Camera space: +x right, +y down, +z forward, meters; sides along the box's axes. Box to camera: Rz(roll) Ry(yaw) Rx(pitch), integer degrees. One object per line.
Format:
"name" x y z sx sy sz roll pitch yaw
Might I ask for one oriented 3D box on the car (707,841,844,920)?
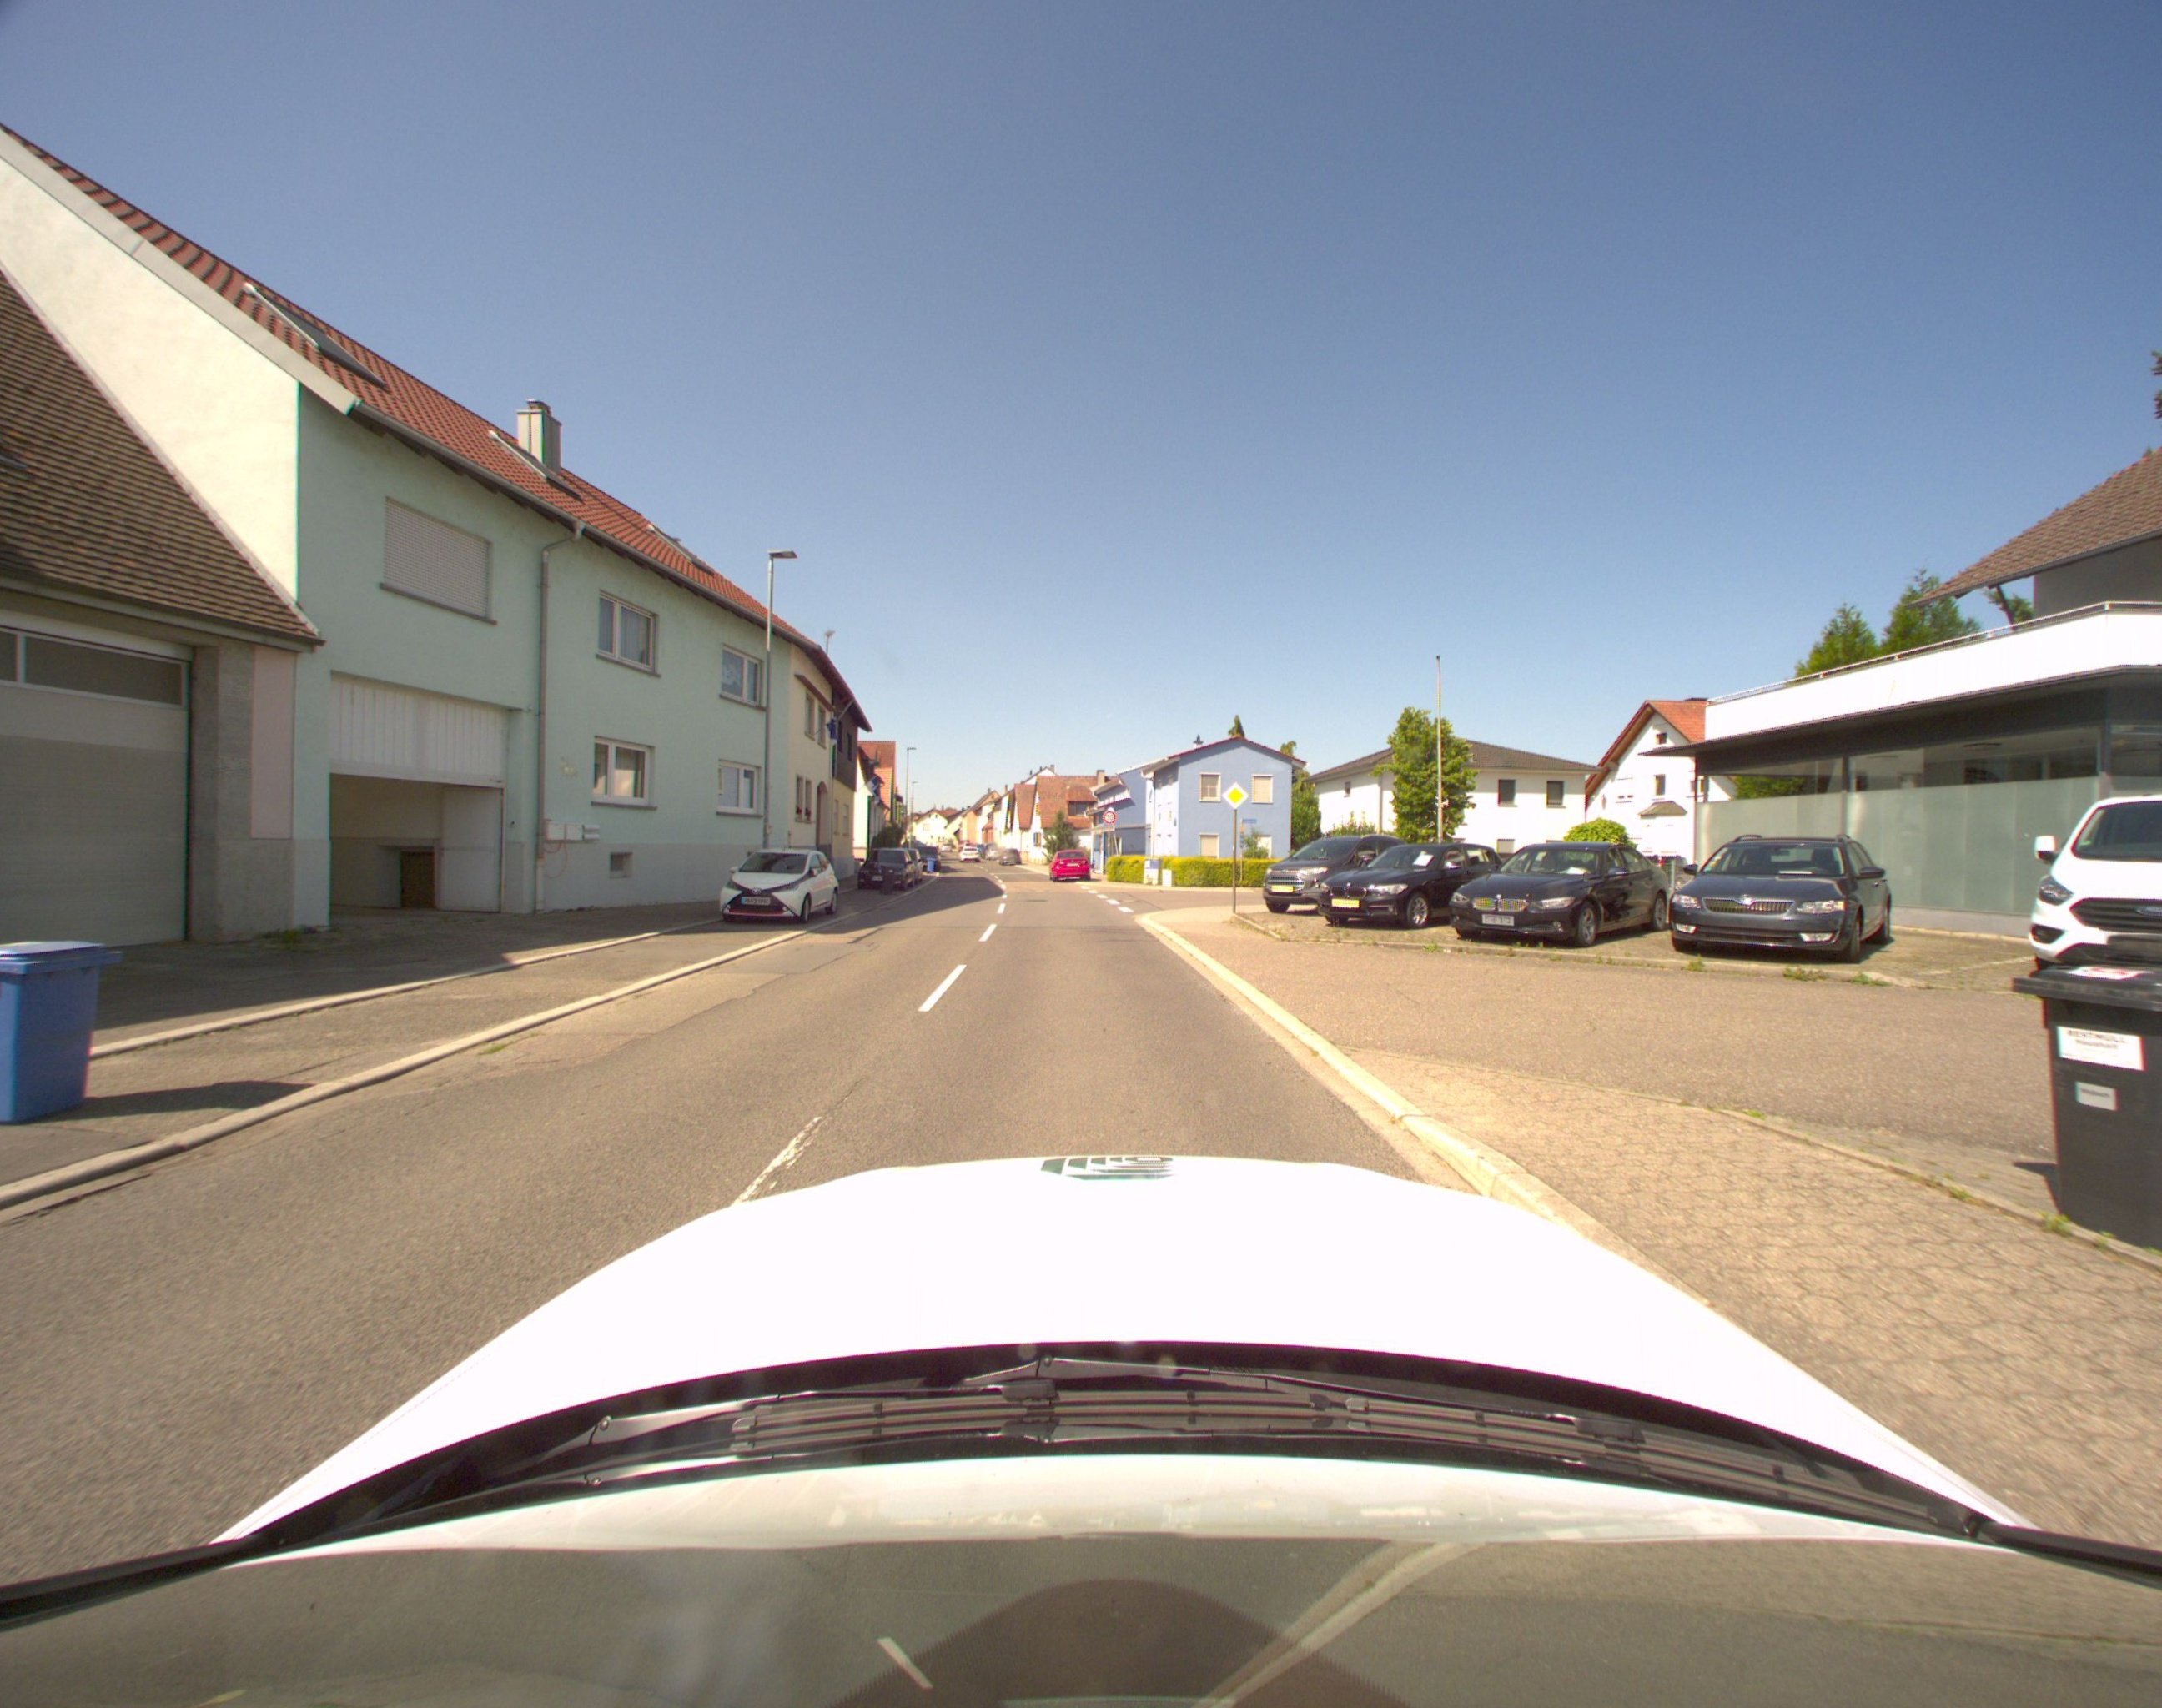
"car" -6.271 0.504 17.152 1.681 1.462 3.644 1 0 -4

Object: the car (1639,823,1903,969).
"car" 9.250 0.435 10.795 4.339 1.550 1.961 0 0 -40

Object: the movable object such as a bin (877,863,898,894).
"movable object such as a bin" -6.203 0.771 26.126 0.551 0.928 0.822 5 0 -12

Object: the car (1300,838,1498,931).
"car" 5.760 0.456 14.557 3.894 1.447 1.730 0 0 -42

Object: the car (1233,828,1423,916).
"car" 5.309 0.322 17.267 4.133 1.653 1.810 0 0 -38

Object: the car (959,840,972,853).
"car" -18.738 -1.248 132.044 1.768 2.004 3.437 0 0 -11

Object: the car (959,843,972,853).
"car" -18.041 -0.937 127.262 1.768 1.433 3.437 0 0 -11

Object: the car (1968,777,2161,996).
"car" 12.274 0.297 8.731 5.293 2.013 2.214 0 0 -24

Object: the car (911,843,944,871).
"car" -10.128 0.168 53.882 1.920 1.668 4.651 3 0 -9

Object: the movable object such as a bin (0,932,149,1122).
"movable object such as a bin" -5.804 0.939 4.543 0.557 0.936 0.513 3 0 -8

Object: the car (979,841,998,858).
"car" -10.361 -0.512 90.982 1.651 1.910 3.610 2 0 -13

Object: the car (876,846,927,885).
"car" -7.670 0.466 35.111 1.638 1.501 3.773 4 0 -6

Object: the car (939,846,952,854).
"car" -22.176 -0.651 133.106 1.995 1.288 3.788 0 0 -12

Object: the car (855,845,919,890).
"car" -7.047 0.474 29.956 1.676 1.437 3.987 4 0 -6

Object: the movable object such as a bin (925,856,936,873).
"movable object such as a bin" -9.058 0.630 49.084 0.596 0.982 0.529 2 0 -10

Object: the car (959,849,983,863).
"car" -10.735 0.181 79.047 1.995 1.288 3.984 0 0 -12

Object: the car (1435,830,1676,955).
"car" 7.325 0.470 12.394 4.262 1.565 1.961 0 1 -42

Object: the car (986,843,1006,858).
"car" -9.033 -0.354 86.158 1.706 1.496 3.438 2 0 -13

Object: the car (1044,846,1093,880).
"car" -0.660 0.385 38.484 1.732 1.494 4.342 -1 1 -9

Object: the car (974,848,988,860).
"car" -12.540 -0.028 101.740 1.421 1.515 3.290 2 0 -13

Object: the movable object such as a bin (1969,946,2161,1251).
"movable object such as a bin" 3.794 0.842 2.981 0.557 0.936 0.513 0 0 -8

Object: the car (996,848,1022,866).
"car" -6.173 0.216 69.751 1.706 1.433 3.873 2 0 -13
